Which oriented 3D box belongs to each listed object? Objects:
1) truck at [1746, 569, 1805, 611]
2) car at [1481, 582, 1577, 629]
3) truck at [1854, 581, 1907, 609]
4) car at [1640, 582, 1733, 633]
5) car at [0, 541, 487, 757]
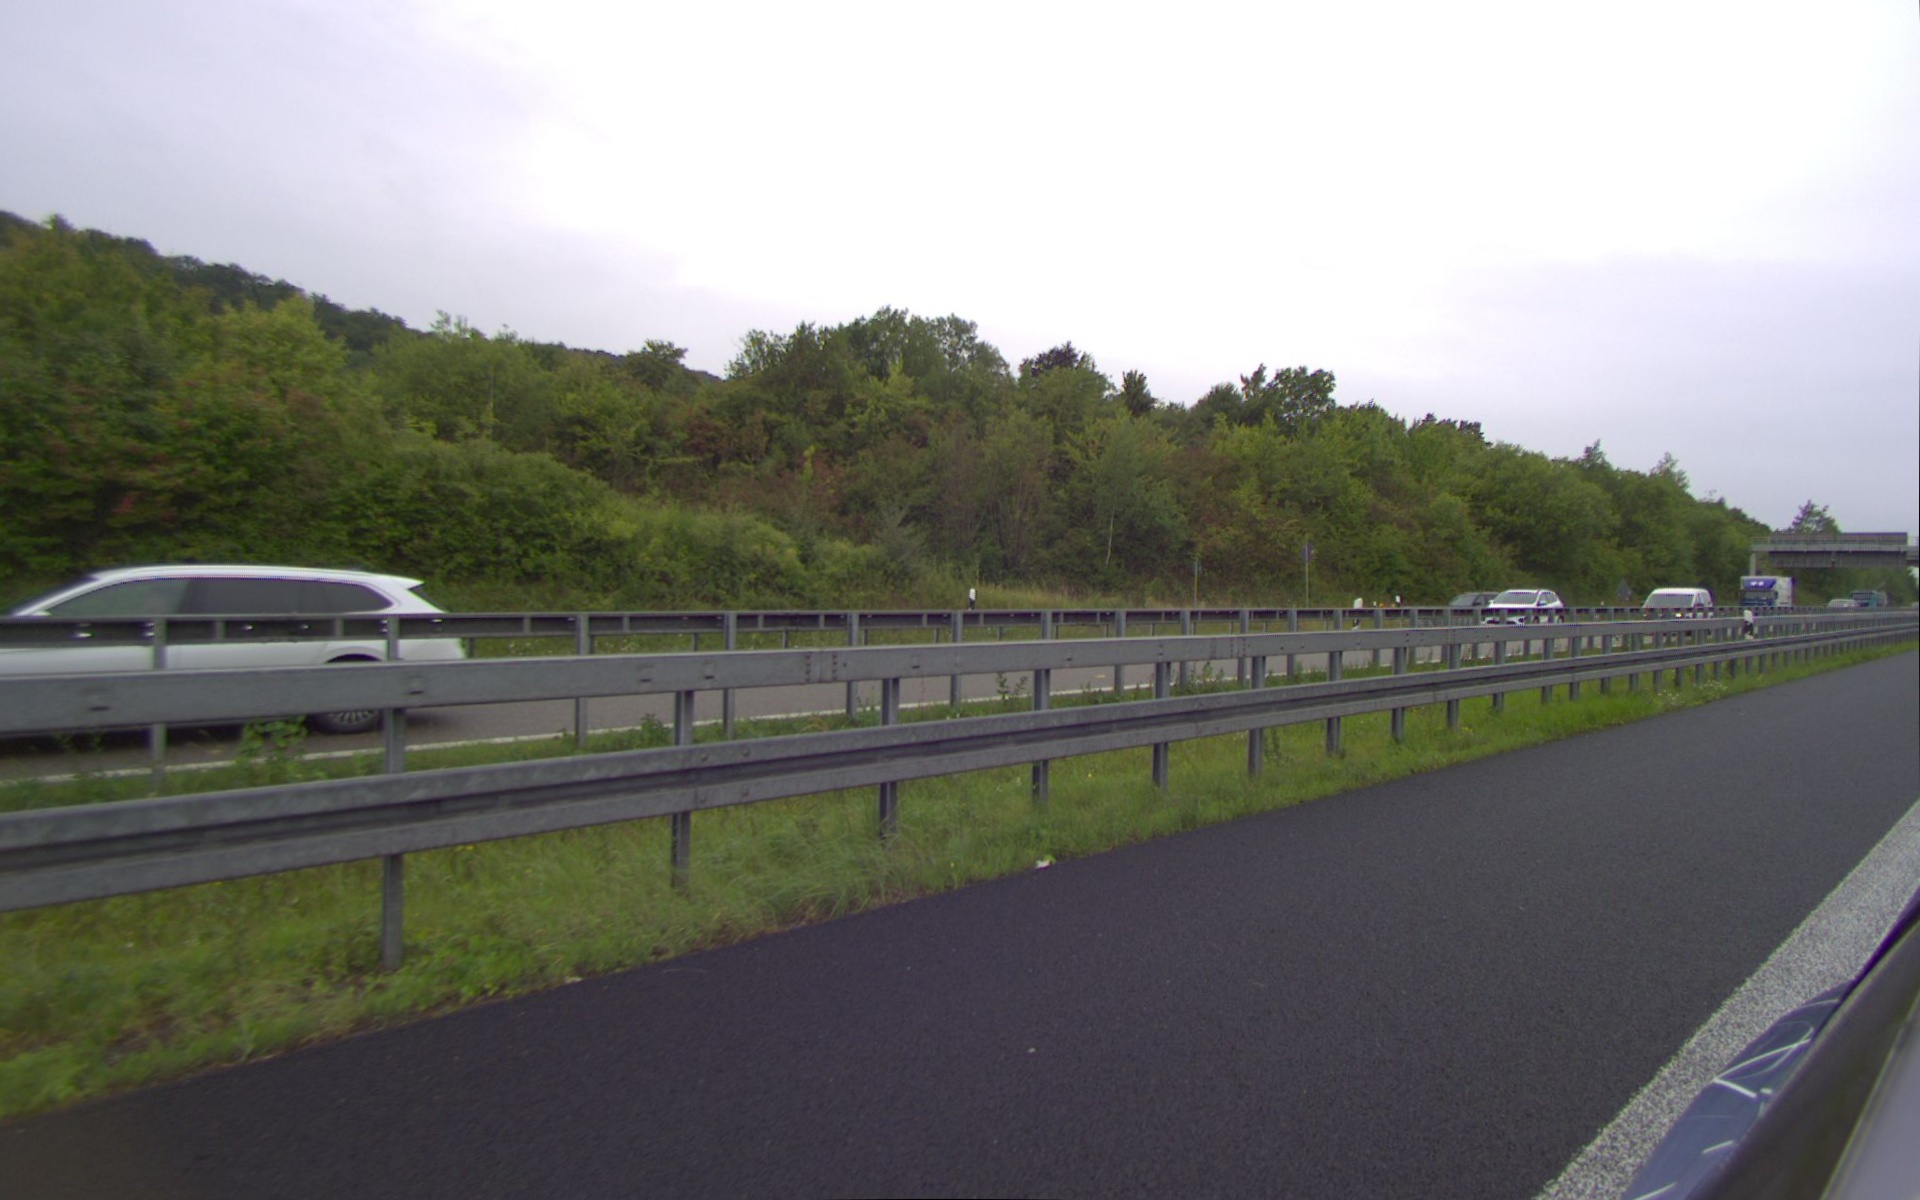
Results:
[{"bbox_3d":[70.906,-0.859,87.964,9.129,3.460,2.904,0,1,-44],"label":"truck"},{"bbox_3d":[21.296,0.179,37.799,4.074,1.633,1.899,0,1,-42],"label":"car"},{"bbox_3d":[119.511,-0.648,131.344,13.109,3.460,2.909,0,1,-38],"label":"truck"},{"bbox_3d":[27.855,0.237,38.750,4.202,1.837,2.011,0,1,-42],"label":"car"},{"bbox_3d":[-6.874,0.334,8.824,4.616,1.567,2.010,0,1,-42],"label":"car"}]
